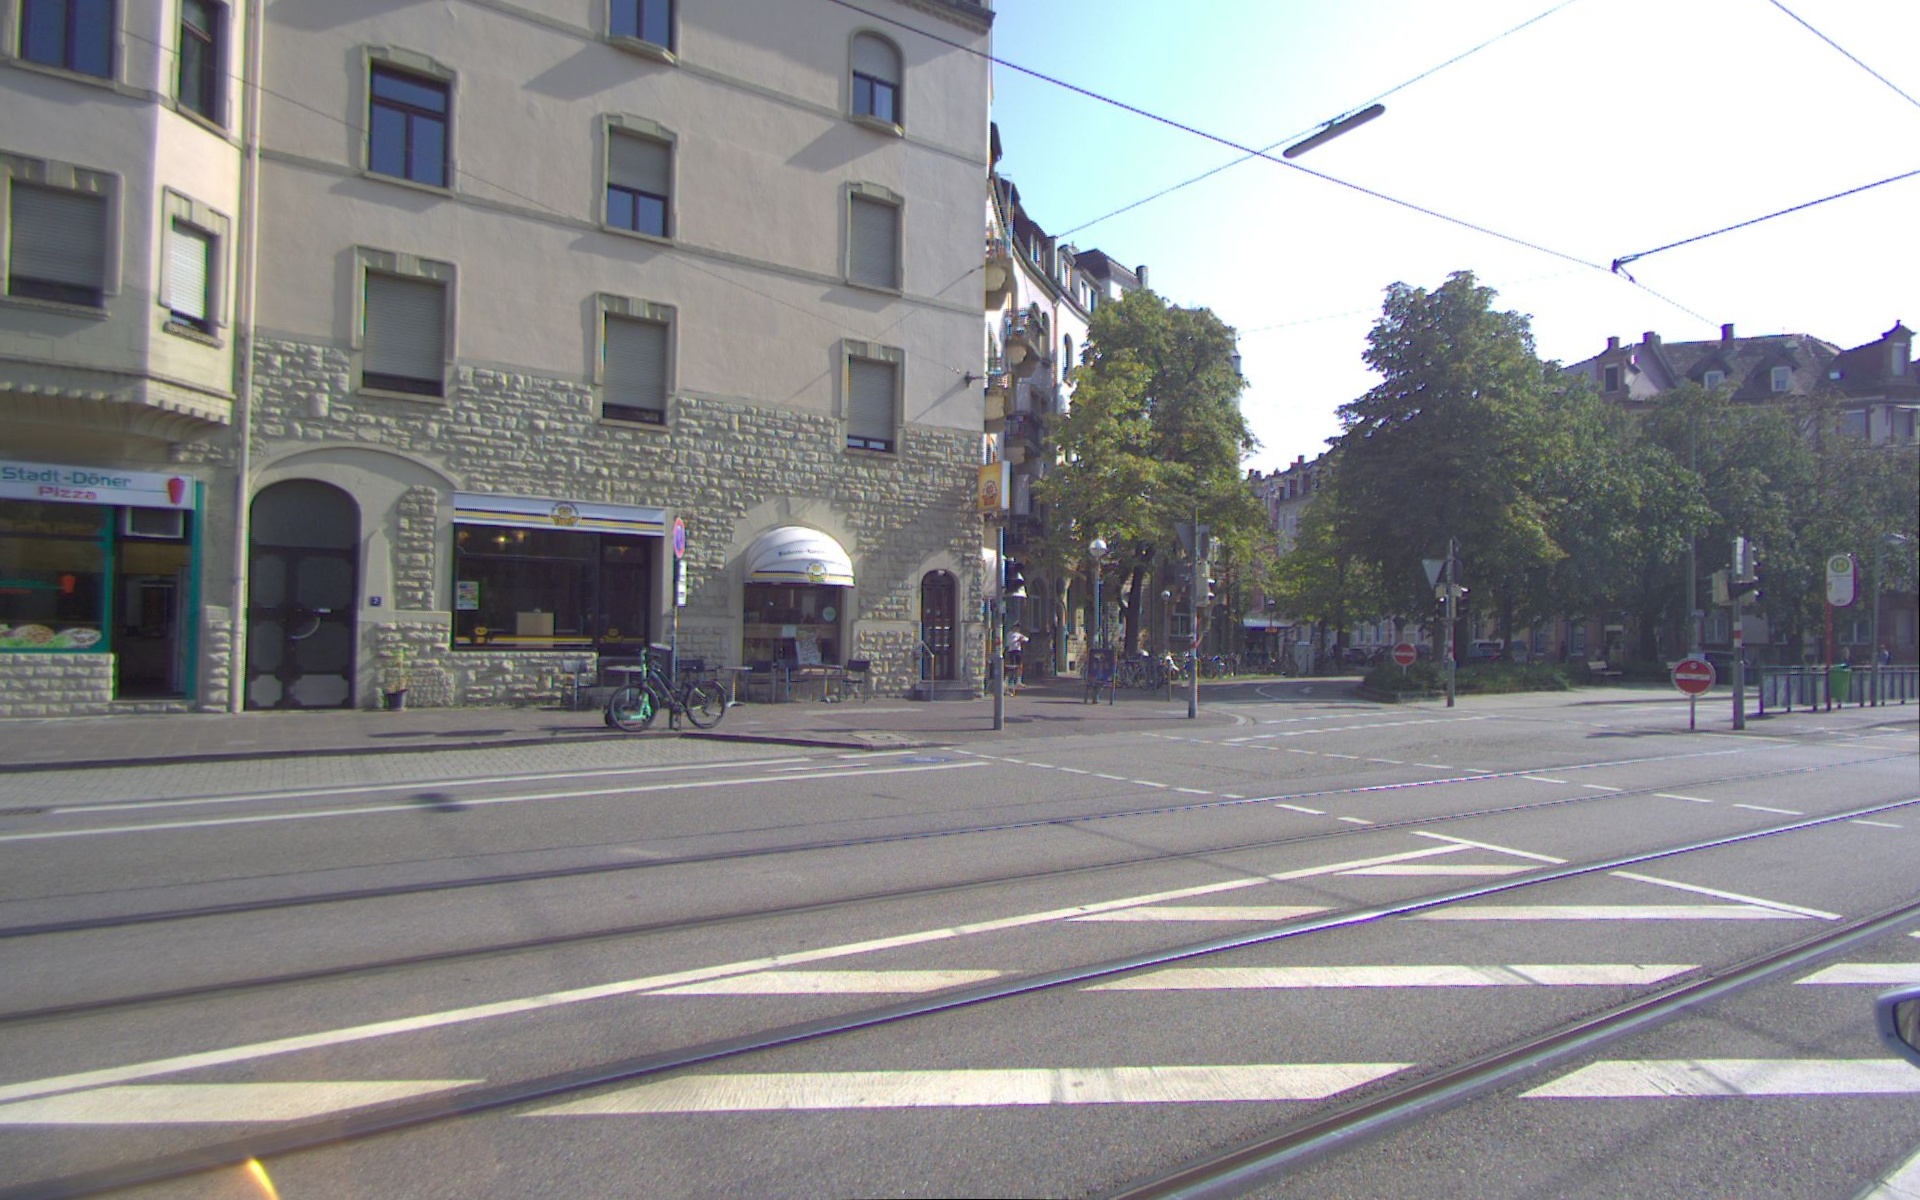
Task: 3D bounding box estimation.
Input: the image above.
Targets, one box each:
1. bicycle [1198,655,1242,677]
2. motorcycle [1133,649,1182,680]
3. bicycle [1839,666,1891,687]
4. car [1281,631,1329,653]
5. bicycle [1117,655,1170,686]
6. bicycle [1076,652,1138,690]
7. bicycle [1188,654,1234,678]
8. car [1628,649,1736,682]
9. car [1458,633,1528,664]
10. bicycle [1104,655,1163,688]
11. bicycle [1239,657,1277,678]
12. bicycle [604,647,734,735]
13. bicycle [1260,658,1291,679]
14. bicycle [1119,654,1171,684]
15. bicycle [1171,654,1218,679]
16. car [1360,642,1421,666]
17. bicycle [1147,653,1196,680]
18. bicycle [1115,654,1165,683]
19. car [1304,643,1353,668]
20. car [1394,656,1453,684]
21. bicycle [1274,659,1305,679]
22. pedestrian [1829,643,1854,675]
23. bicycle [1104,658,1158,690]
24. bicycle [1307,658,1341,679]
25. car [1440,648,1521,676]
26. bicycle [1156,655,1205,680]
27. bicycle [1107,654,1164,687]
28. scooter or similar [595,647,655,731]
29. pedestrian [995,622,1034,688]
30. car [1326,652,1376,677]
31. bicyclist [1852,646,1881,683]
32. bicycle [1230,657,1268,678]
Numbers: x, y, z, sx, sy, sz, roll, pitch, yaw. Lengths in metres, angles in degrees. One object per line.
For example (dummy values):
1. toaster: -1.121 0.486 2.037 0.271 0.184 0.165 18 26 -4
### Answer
1. bicycle: 11.826 2.997 45.749 1.851 0.947 0.635 -1 -3 42
2. motorcycle: 7.889 2.576 40.173 1.839 1.169 0.607 0 -2 26
3. bicycle: 45.870 3.885 50.926 1.906 0.990 0.496 0 -2 27
4. car: 30.159 3.630 87.874 1.968 1.852 3.985 1 -2 -18
5. bicycle: 6.468 2.481 35.439 1.769 0.997 0.570 1 -2 18
6. bicycle: 4.667 2.247 31.846 1.845 1.127 0.569 2 -2 -11
7. bicycle: 11.095 2.916 44.367 1.865 0.993 0.686 0 -2 26
8. car: 37.370 3.371 52.119 4.254 1.589 1.999 0 -3 25
9. car: 34.072 3.089 64.311 1.964 1.852 3.994 1 -2 -9
10. bicycle: 5.627 2.310 32.636 1.840 1.016 0.570 1 -2 5
11. bicycle: 14.847 3.356 50.096 1.742 0.990 0.603 -1 -3 36
12. bicycle: -4.324 1.335 15.025 1.843 1.242 0.449 3 -3 -41
13. bicycle: 15.413 3.344 48.997 1.750 0.990 0.422 2 -3 -32
14. bicycle: 6.740 2.509 36.622 1.769 0.996 0.661 1 -2 18
15. bicycle: 10.128 2.865 43.352 1.865 0.993 0.686 0 -2 26
16. car: 30.168 3.779 70.504 1.964 1.589 4.330 1 -2 -9
17. bicycle: 8.615 2.719 40.988 1.843 1.041 0.664 0 -2 26
18. bicycle: 6.741 2.554 37.637 1.769 0.989 0.661 1 -2 18
19. car: 29.028 4.370 79.235 1.964 1.852 3.994 1 -2 -9
20. car: 33.018 4.948 71.683 1.964 1.852 3.994 1 -2 -9
21. bicycle: 16.091 3.360 48.985 1.750 0.990 0.422 2 -3 -32
22. pedestrian: 48.446 3.233 55.212 0.756 1.753 0.752 0 -2 21
23. bicycle: 5.298 2.290 31.191 1.577 0.932 0.479 2 -2 -1
24. bicycle: 18.550 3.481 51.277 0.597 0.990 1.760 1 -3 -23
25. car: 31.407 3.722 60.700 1.967 1.589 4.324 1 -2 -15
26. bicycle: 9.256 2.824 42.091 1.876 0.947 0.737 0 -2 25
27. bicycle: 5.954 2.368 34.096 1.841 1.047 0.570 1 -2 20
28. scooter or similar: -5.064 1.327 15.240 0.359 1.213 1.035 0 -2 13
29. pedestrian: 1.611 1.630 29.815 0.767 1.918 0.887 2 -2 -31
30. car: 31.511 5.166 81.056 1.964 1.852 3.994 1 -2 -9
31. bicyclist: 45.952 3.257 50.908 0.971 1.881 0.492 0 -2 27
32. bicycle: 14.262 3.333 49.576 1.742 0.990 0.518 -1 -3 38
